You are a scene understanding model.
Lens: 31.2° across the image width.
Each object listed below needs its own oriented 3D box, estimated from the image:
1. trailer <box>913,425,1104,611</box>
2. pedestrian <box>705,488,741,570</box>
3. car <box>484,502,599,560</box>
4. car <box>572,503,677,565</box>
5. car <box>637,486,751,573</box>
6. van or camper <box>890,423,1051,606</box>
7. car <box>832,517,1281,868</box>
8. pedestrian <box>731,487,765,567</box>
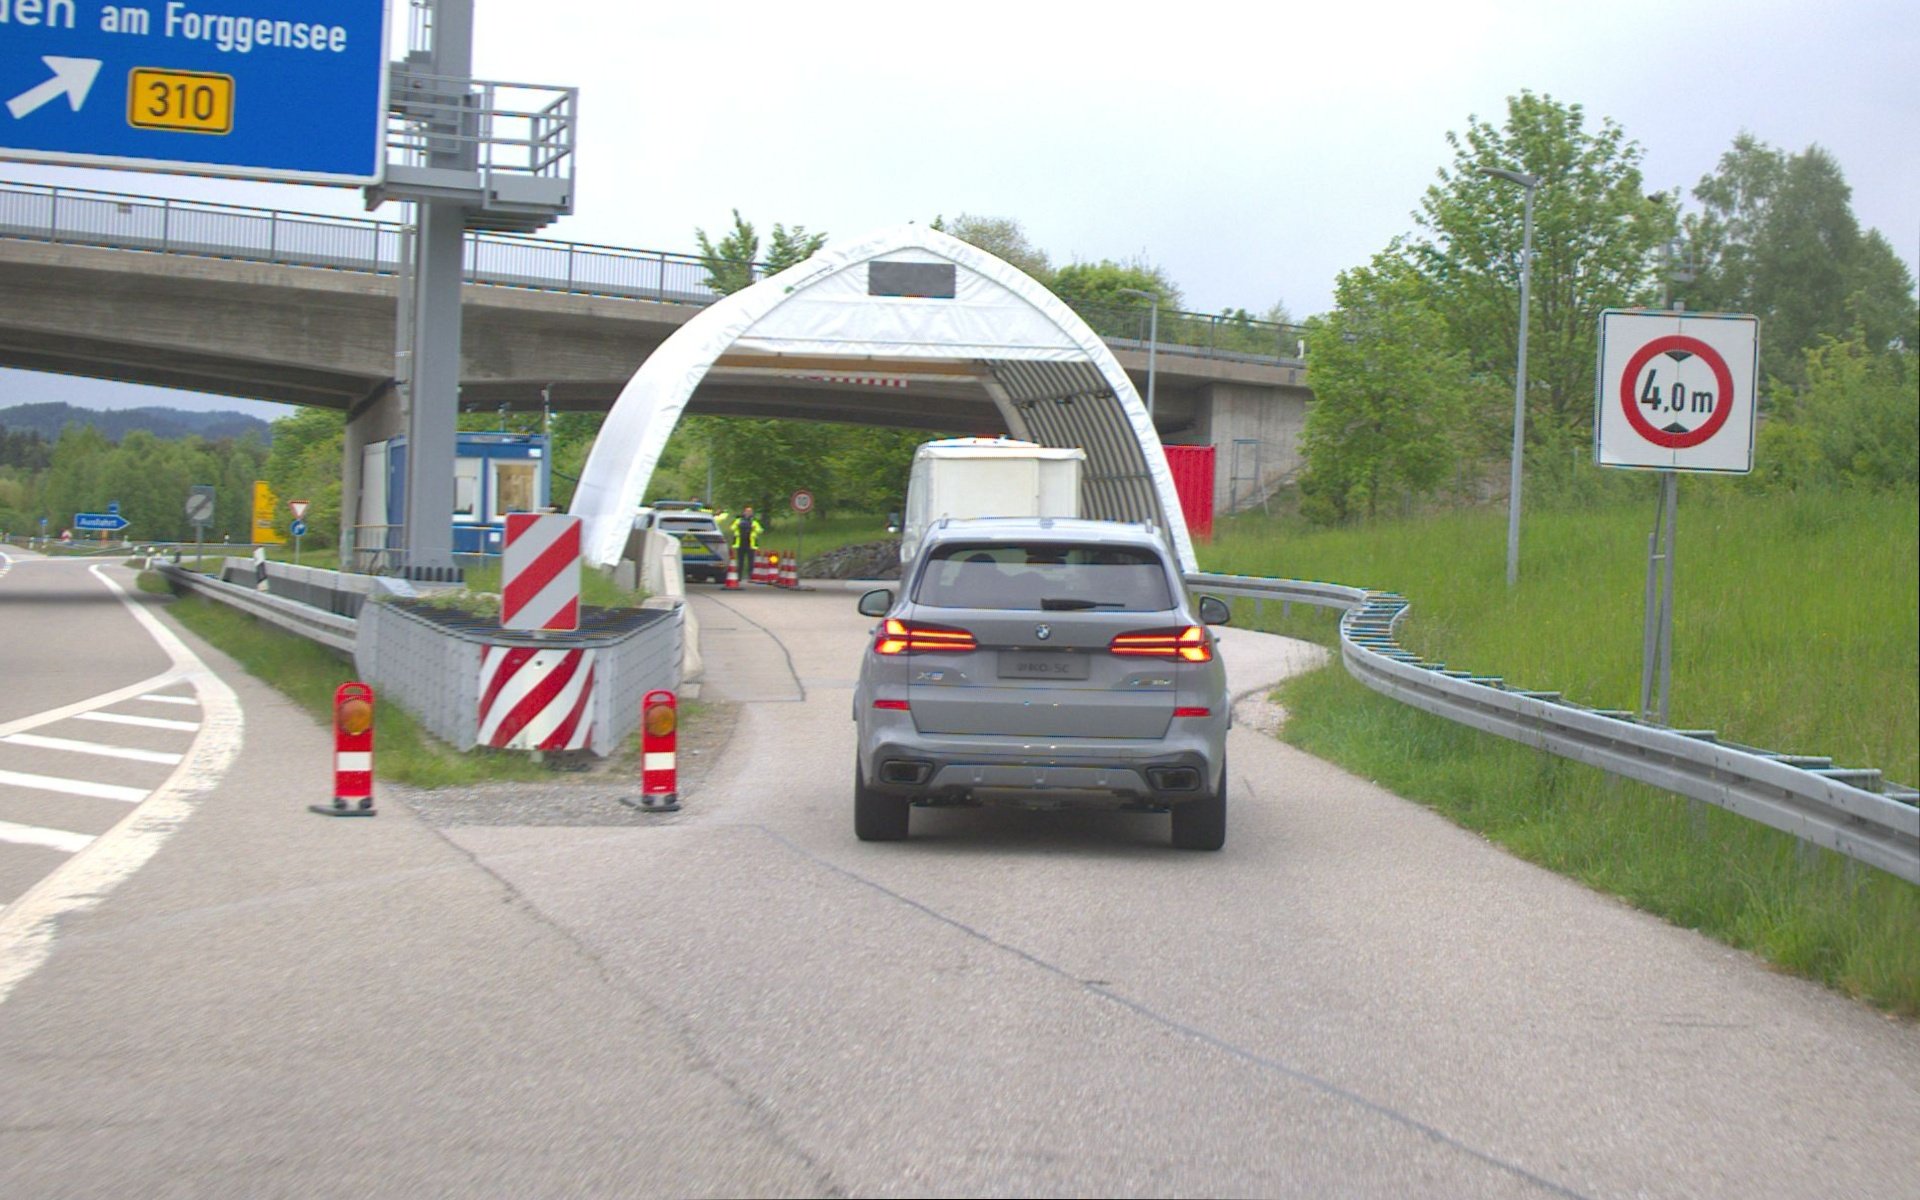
[{"bbox_3d":[0.599,-1.118,48.915,2.279,2.422,6.818,1,1,-3],"label":"trailer"},{"bbox_3d":[-5.179,-1.556,75.078,0.720,1.769,0.690,0,1,-10],"label":"pedestrian"},{"bbox_3d":[-10.724,-1.770,87.953,1.515,1.437,3.315,0,2,-36],"label":"car"},{"bbox_3d":[-11.153,-2.195,114.145,1.993,2.007,4.000,0,1,-29],"label":"car"},{"bbox_3d":[-5.651,-1.486,72.582,1.993,1.766,3.767,0,1,-11],"label":"car"},{"bbox_3d":[0.106,-1.331,55.245,2.156,2.754,5.872,1,1,-4],"label":"van or camper"},{"bbox_3d":[0.657,0.427,19.186,1.994,1.713,3.999,1,1,9],"label":"car"},{"bbox_3d":[-4.704,-1.621,76.196,0.648,1.769,0.606,0,1,-12],"label":"pedestrian"}]
